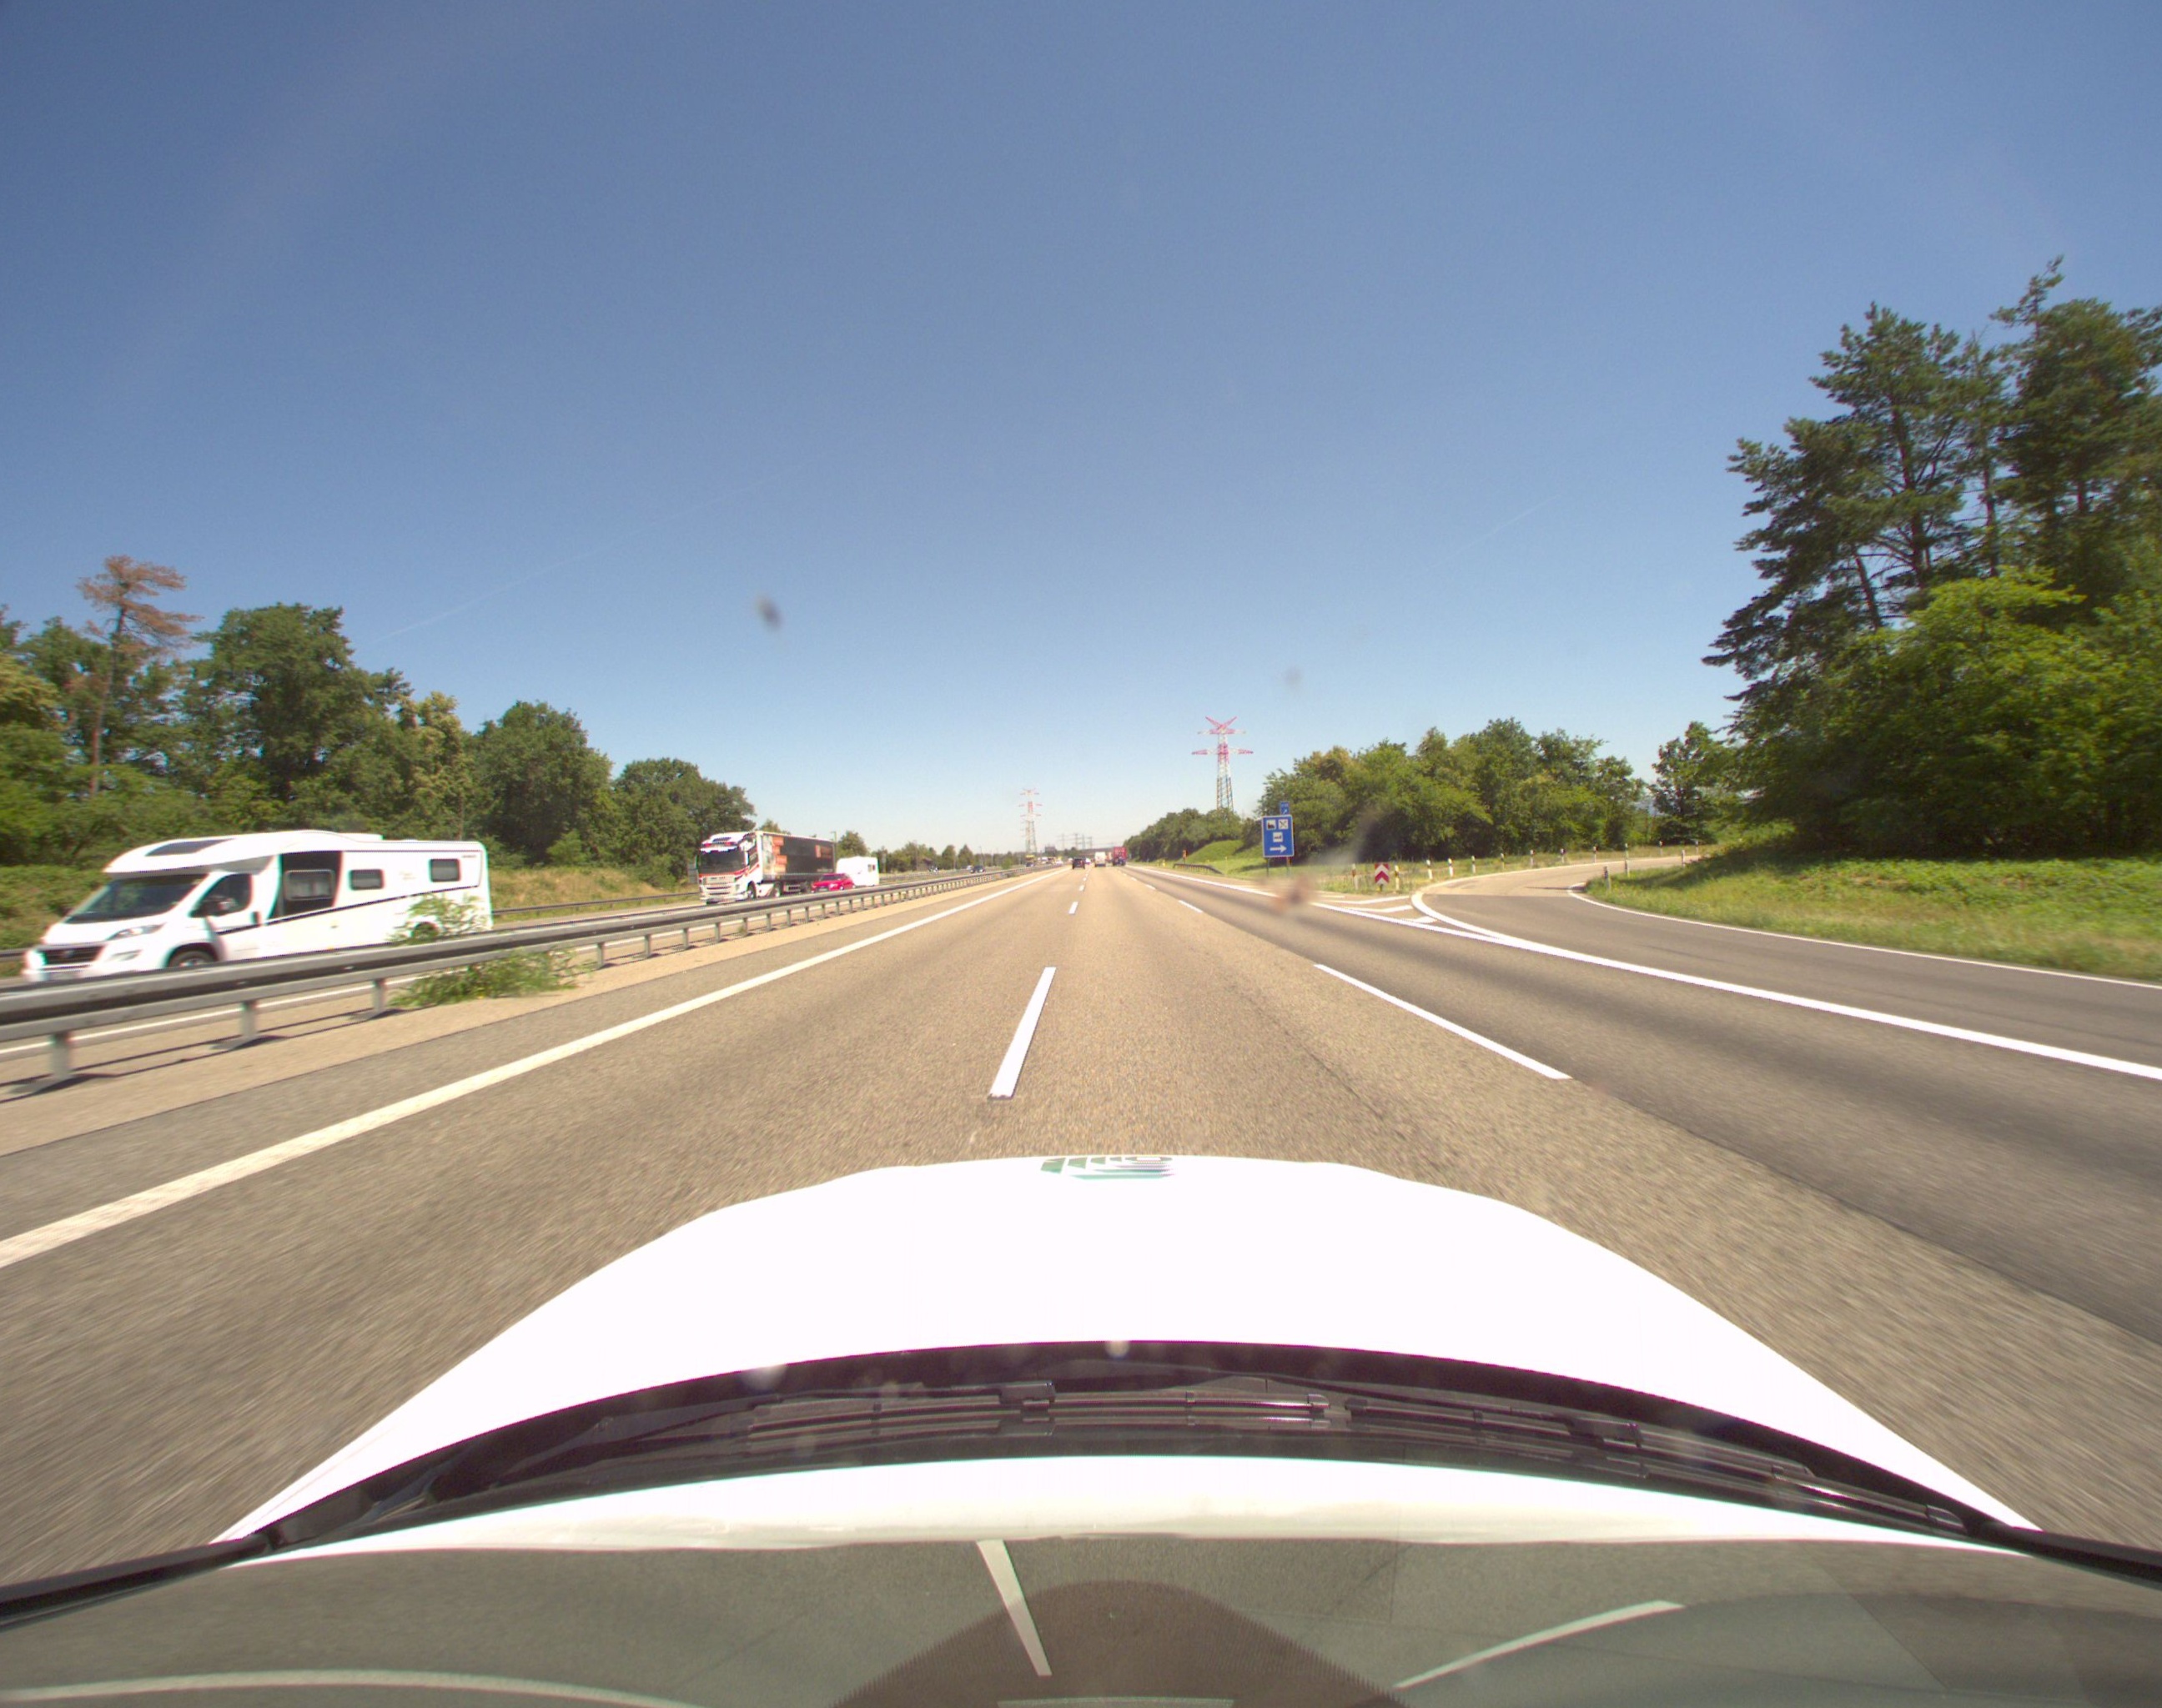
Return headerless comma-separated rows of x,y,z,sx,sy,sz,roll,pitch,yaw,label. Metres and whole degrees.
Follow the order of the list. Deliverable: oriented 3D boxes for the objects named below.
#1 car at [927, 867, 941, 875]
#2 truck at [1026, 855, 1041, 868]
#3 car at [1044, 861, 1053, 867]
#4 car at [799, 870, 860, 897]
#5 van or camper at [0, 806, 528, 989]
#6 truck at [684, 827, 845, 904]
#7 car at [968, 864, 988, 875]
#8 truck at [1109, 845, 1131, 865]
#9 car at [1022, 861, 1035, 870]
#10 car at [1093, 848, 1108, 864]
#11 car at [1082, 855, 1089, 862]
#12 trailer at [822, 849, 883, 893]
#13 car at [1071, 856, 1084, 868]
-32.384,3.776,179.830,2.045,1.551,4.890,-4,0,0,car
-14.782,2.428,254.413,3.160,3.810,13.533,-3,0,1,truck
-8.758,2.681,219.721,2.045,1.551,4.890,-4,0,0,car
-15.603,1.787,50.772,2.220,1.380,4.692,-4,0,0,car
-16.048,0.717,17.210,2.492,2.810,8.565,-3,0,2,van or camper
-19.516,0.670,52.374,3.314,3.996,16.870,-3,0,1,truck
-14.886,2.237,118.121,2.220,1.380,4.890,-4,0,0,car
8.209,0.157,175.324,4.316,3.941,16.081,-1,0,1,truck
-10.268,2.300,160.439,2.045,1.551,4.890,-4,0,0,car
3.594,0.389,148.873,2.612,2.759,6.097,-1,0,1,car
1.284,1.215,218.741,1.741,1.634,4.004,-1,0,1,car
-15.534,1.112,55.660,2.469,2.747,5.075,-4,0,0,trailer
-0.550,1.230,126.311,1.987,1.750,4.000,-1,0,0,car
